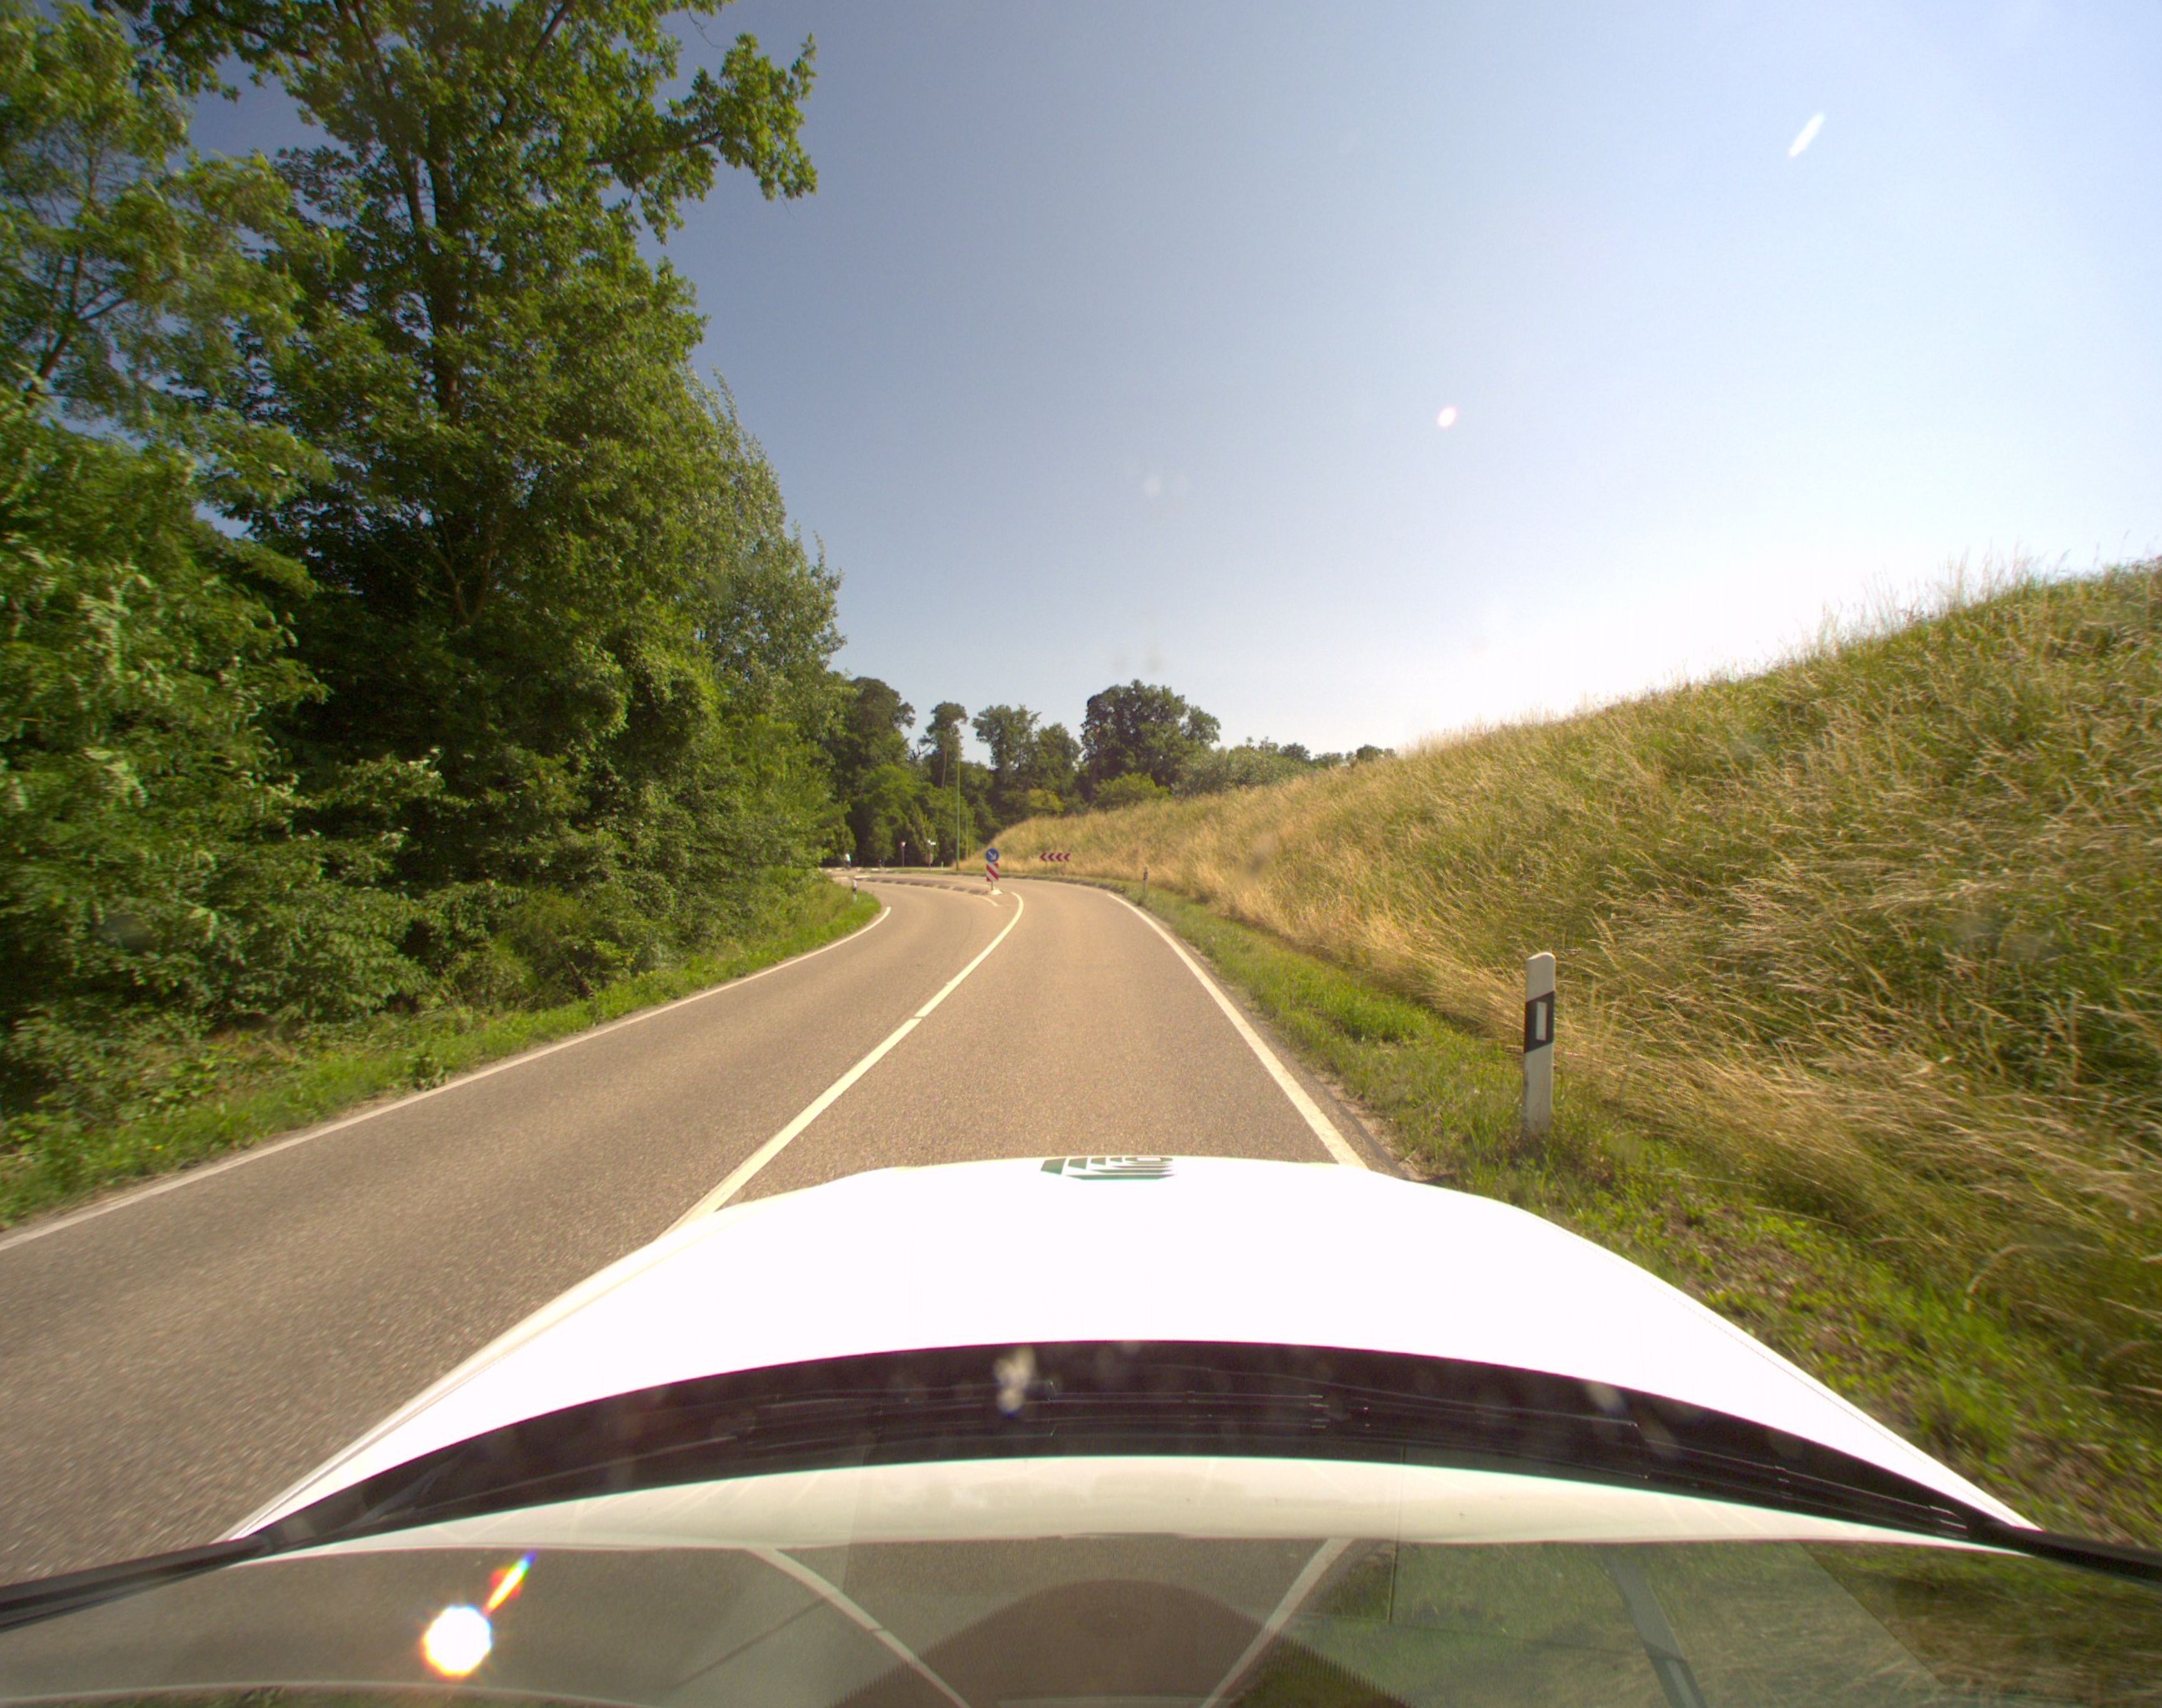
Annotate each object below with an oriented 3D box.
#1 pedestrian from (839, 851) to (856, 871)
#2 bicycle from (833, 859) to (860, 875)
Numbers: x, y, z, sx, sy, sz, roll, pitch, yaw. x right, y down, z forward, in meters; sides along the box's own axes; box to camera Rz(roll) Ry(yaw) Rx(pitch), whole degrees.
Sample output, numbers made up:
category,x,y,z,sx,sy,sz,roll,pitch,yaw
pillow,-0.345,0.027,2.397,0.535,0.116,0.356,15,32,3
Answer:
category,x,y,z,sx,sy,sz,roll,pitch,yaw
pedestrian,-24.563,0.754,85.508,1.127,2.013,1.272,-1,0,41
bicycle,-24.645,1.356,85.574,3.158,1.587,1.194,-1,0,43
